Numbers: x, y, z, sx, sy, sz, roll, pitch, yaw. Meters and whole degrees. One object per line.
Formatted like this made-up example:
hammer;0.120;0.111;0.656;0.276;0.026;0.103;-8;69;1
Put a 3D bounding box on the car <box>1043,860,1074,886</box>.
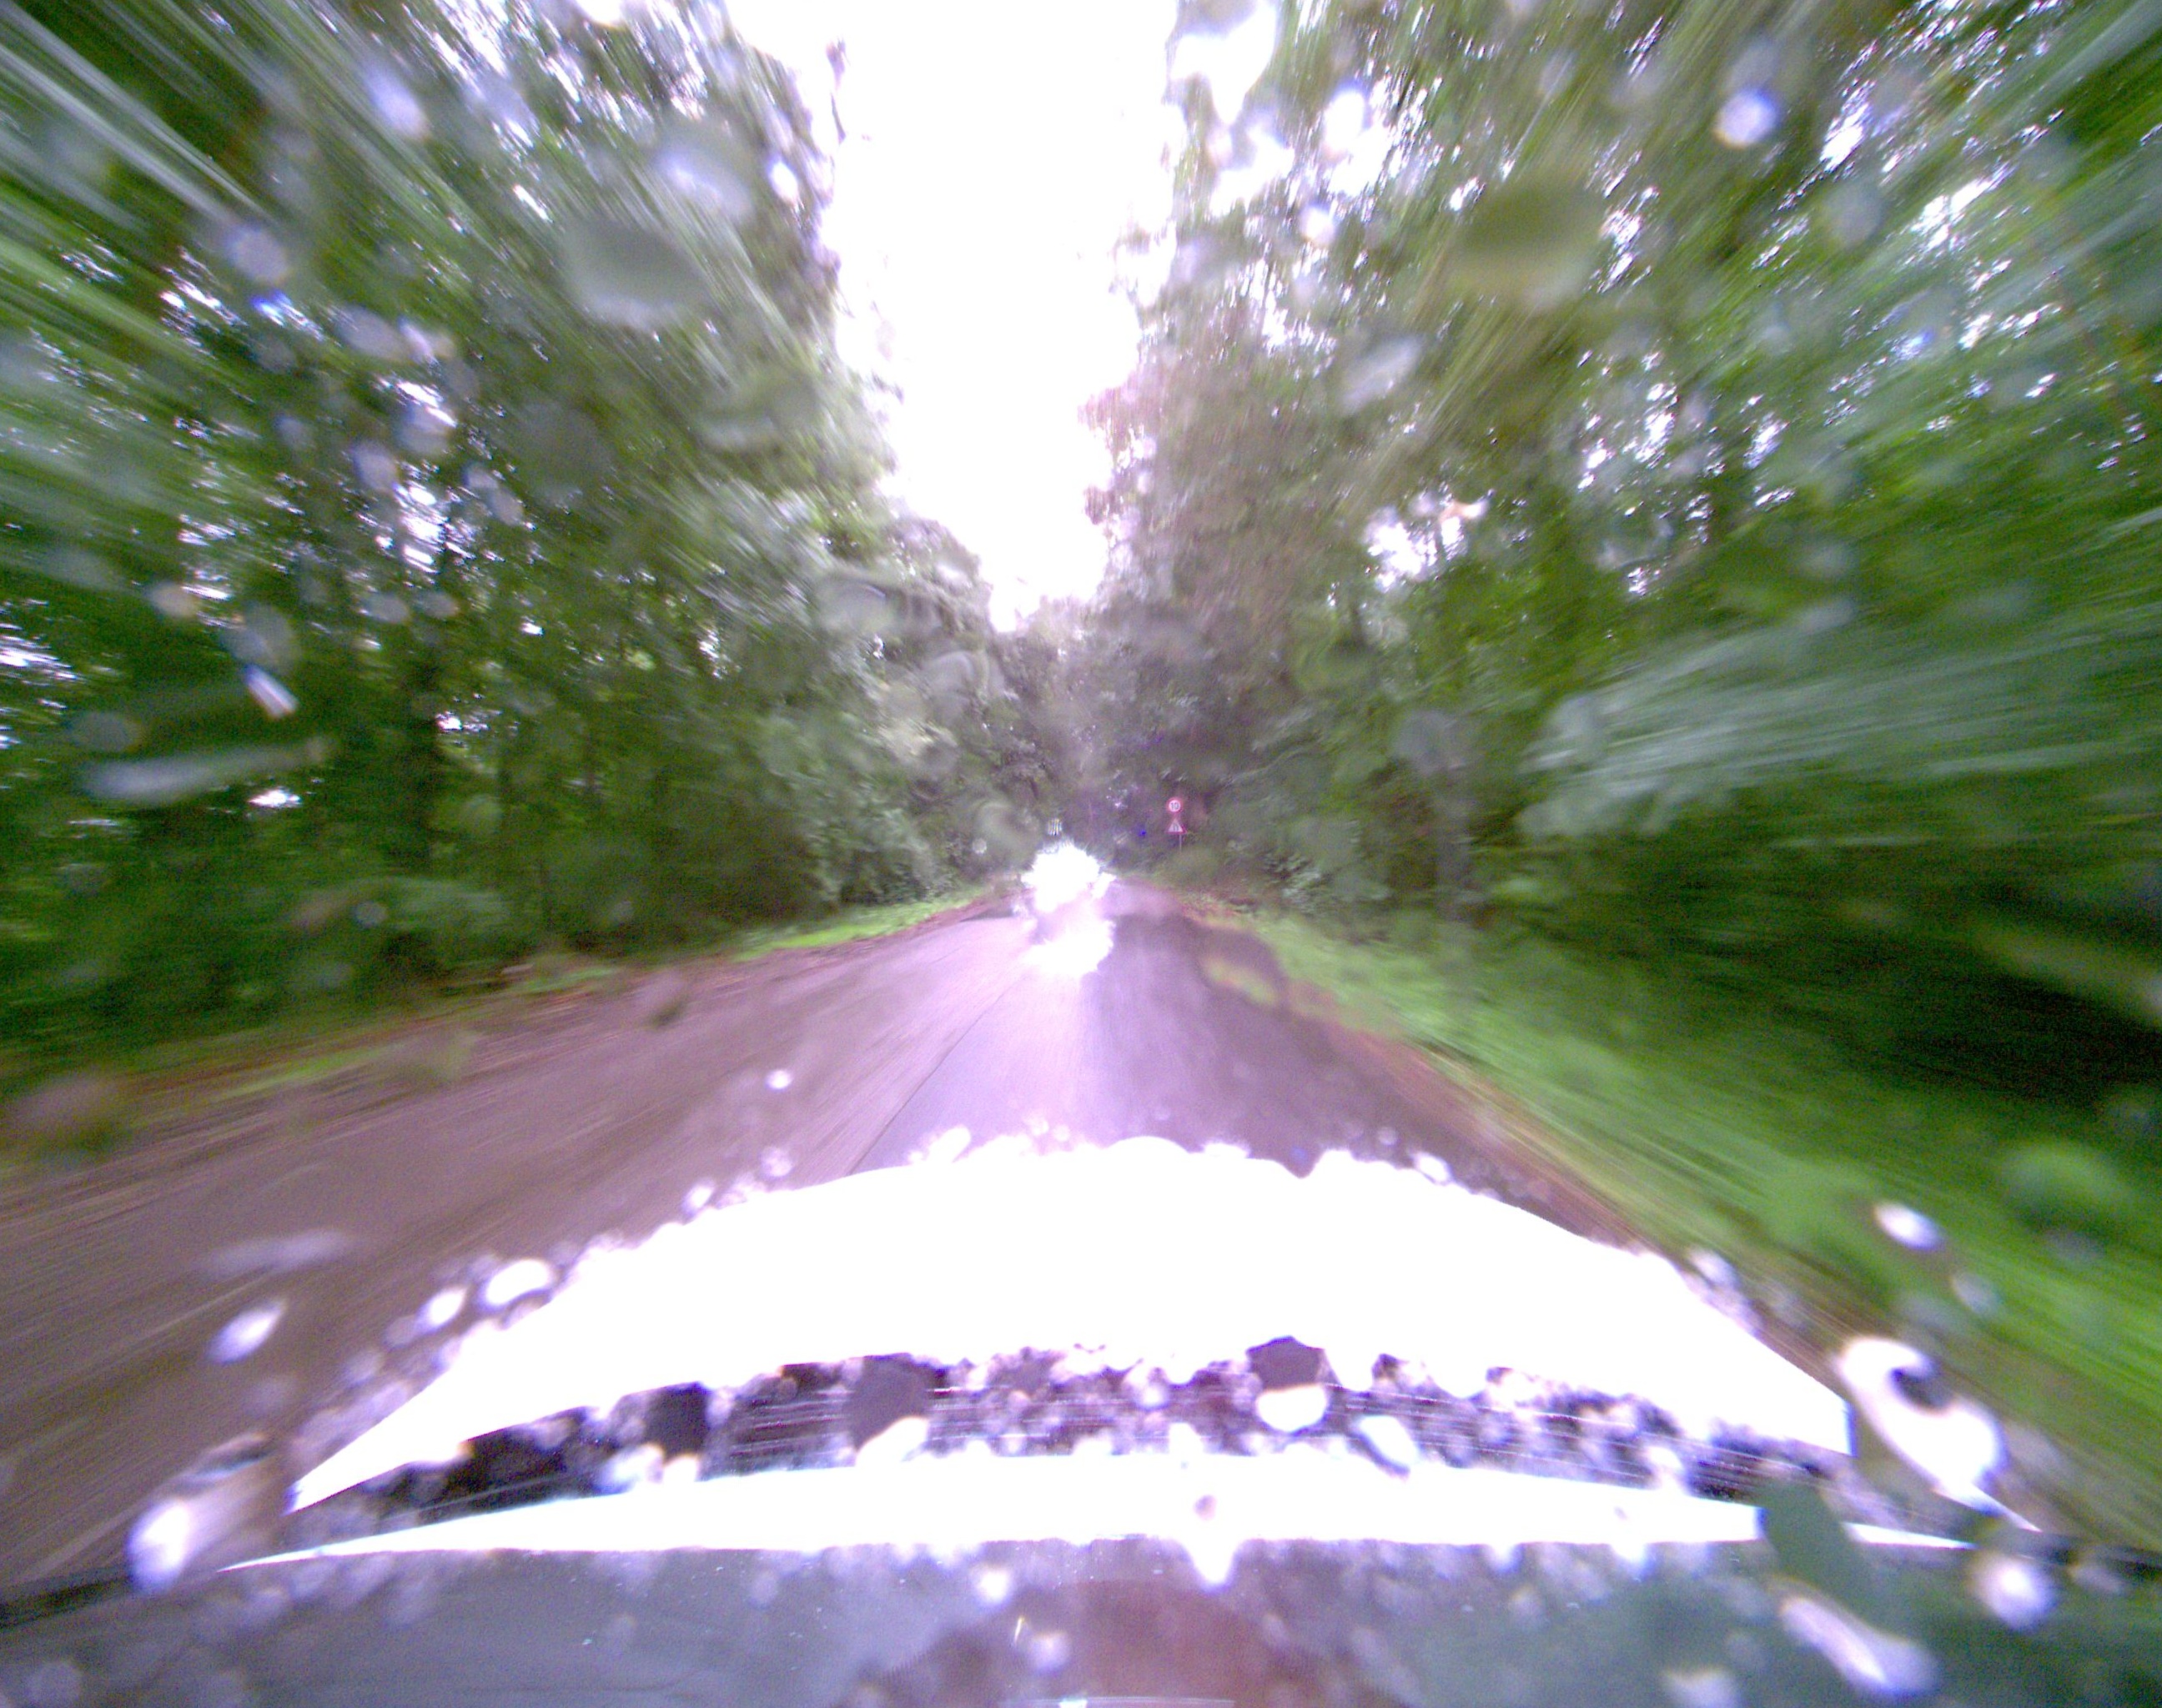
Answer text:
car;-1.420;1.191;52.762;1.707;1.475;3.892;-4;-1;2
